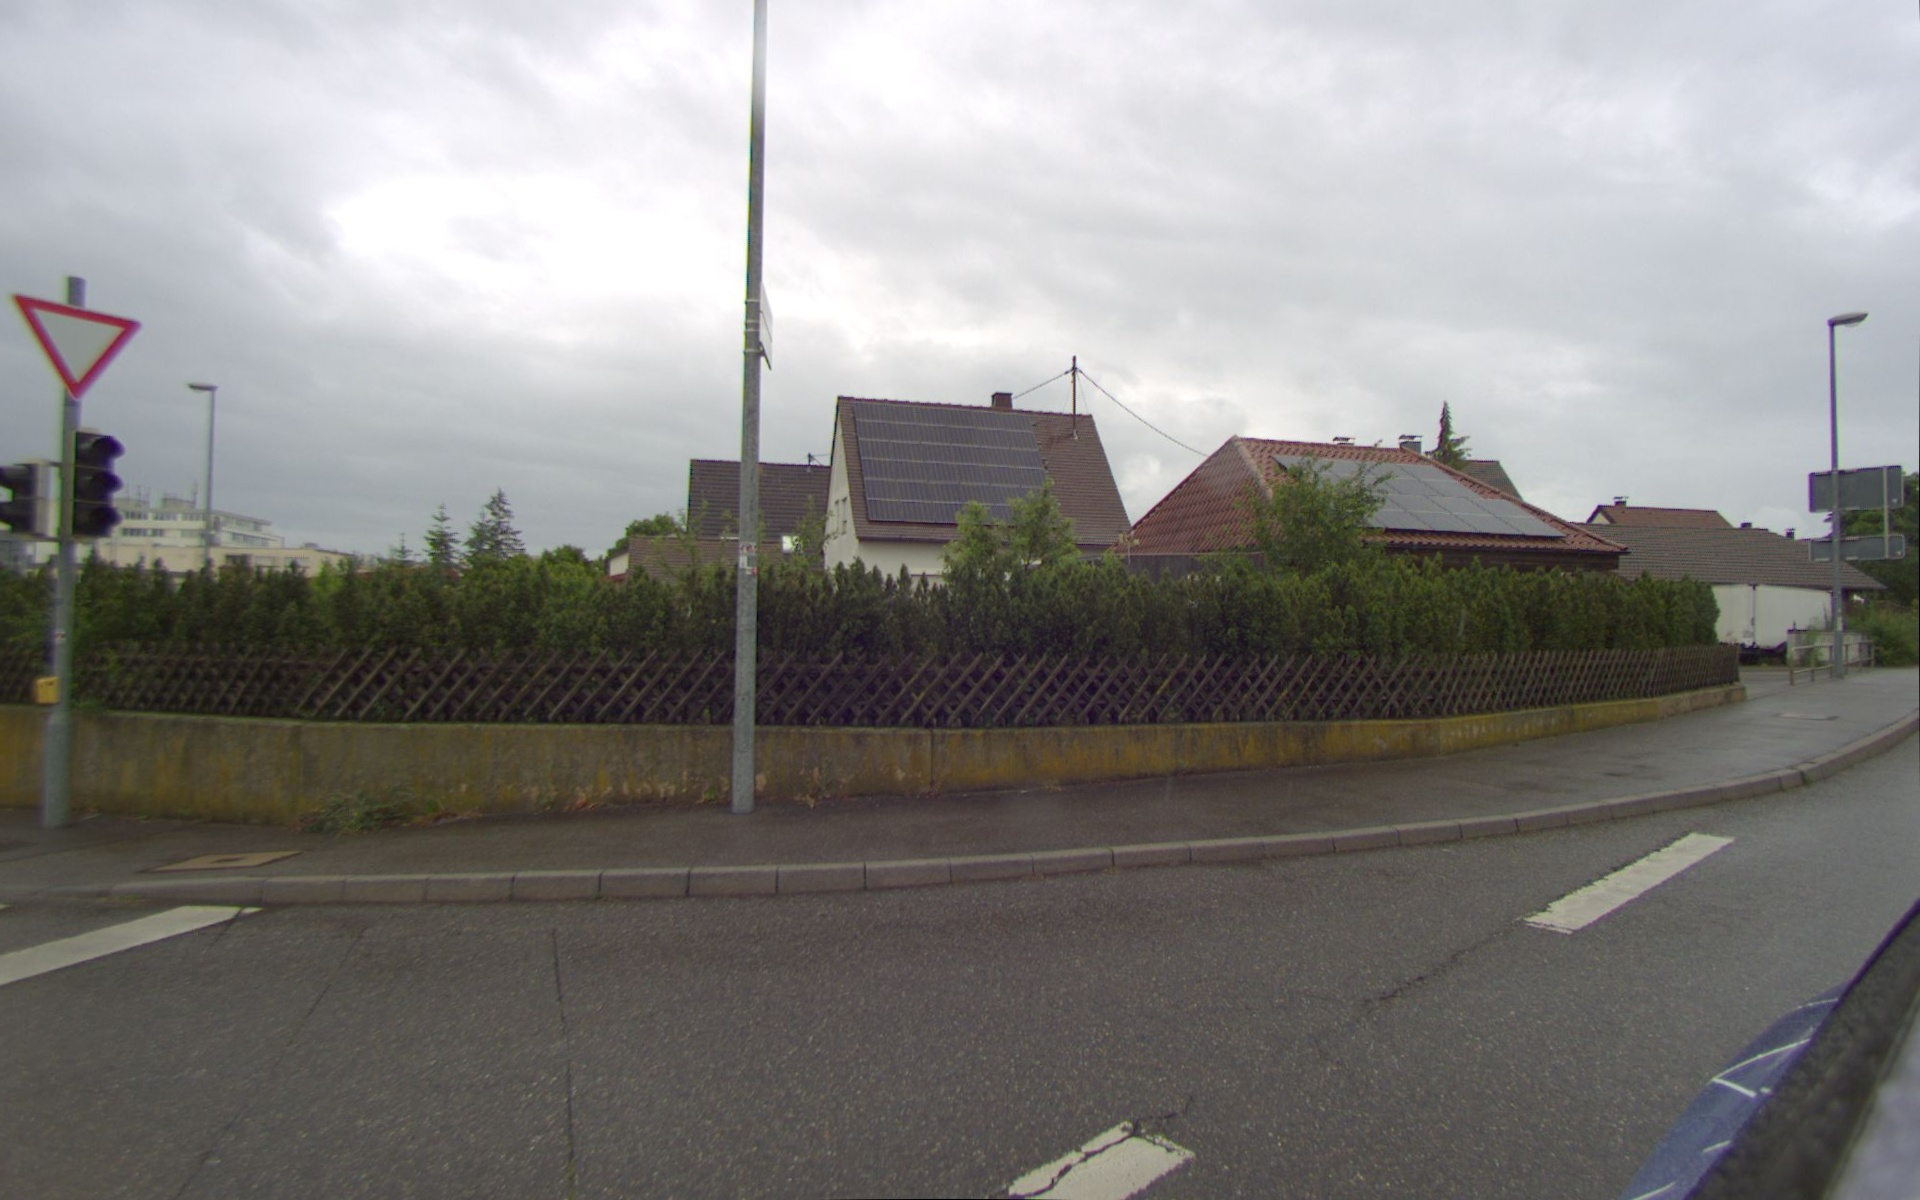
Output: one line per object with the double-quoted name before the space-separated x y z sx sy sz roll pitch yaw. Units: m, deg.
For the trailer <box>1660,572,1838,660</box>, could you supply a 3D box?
"trailer" 23.941 0.496 30.755 4.605 2.550 1.652 0 -2 -13
